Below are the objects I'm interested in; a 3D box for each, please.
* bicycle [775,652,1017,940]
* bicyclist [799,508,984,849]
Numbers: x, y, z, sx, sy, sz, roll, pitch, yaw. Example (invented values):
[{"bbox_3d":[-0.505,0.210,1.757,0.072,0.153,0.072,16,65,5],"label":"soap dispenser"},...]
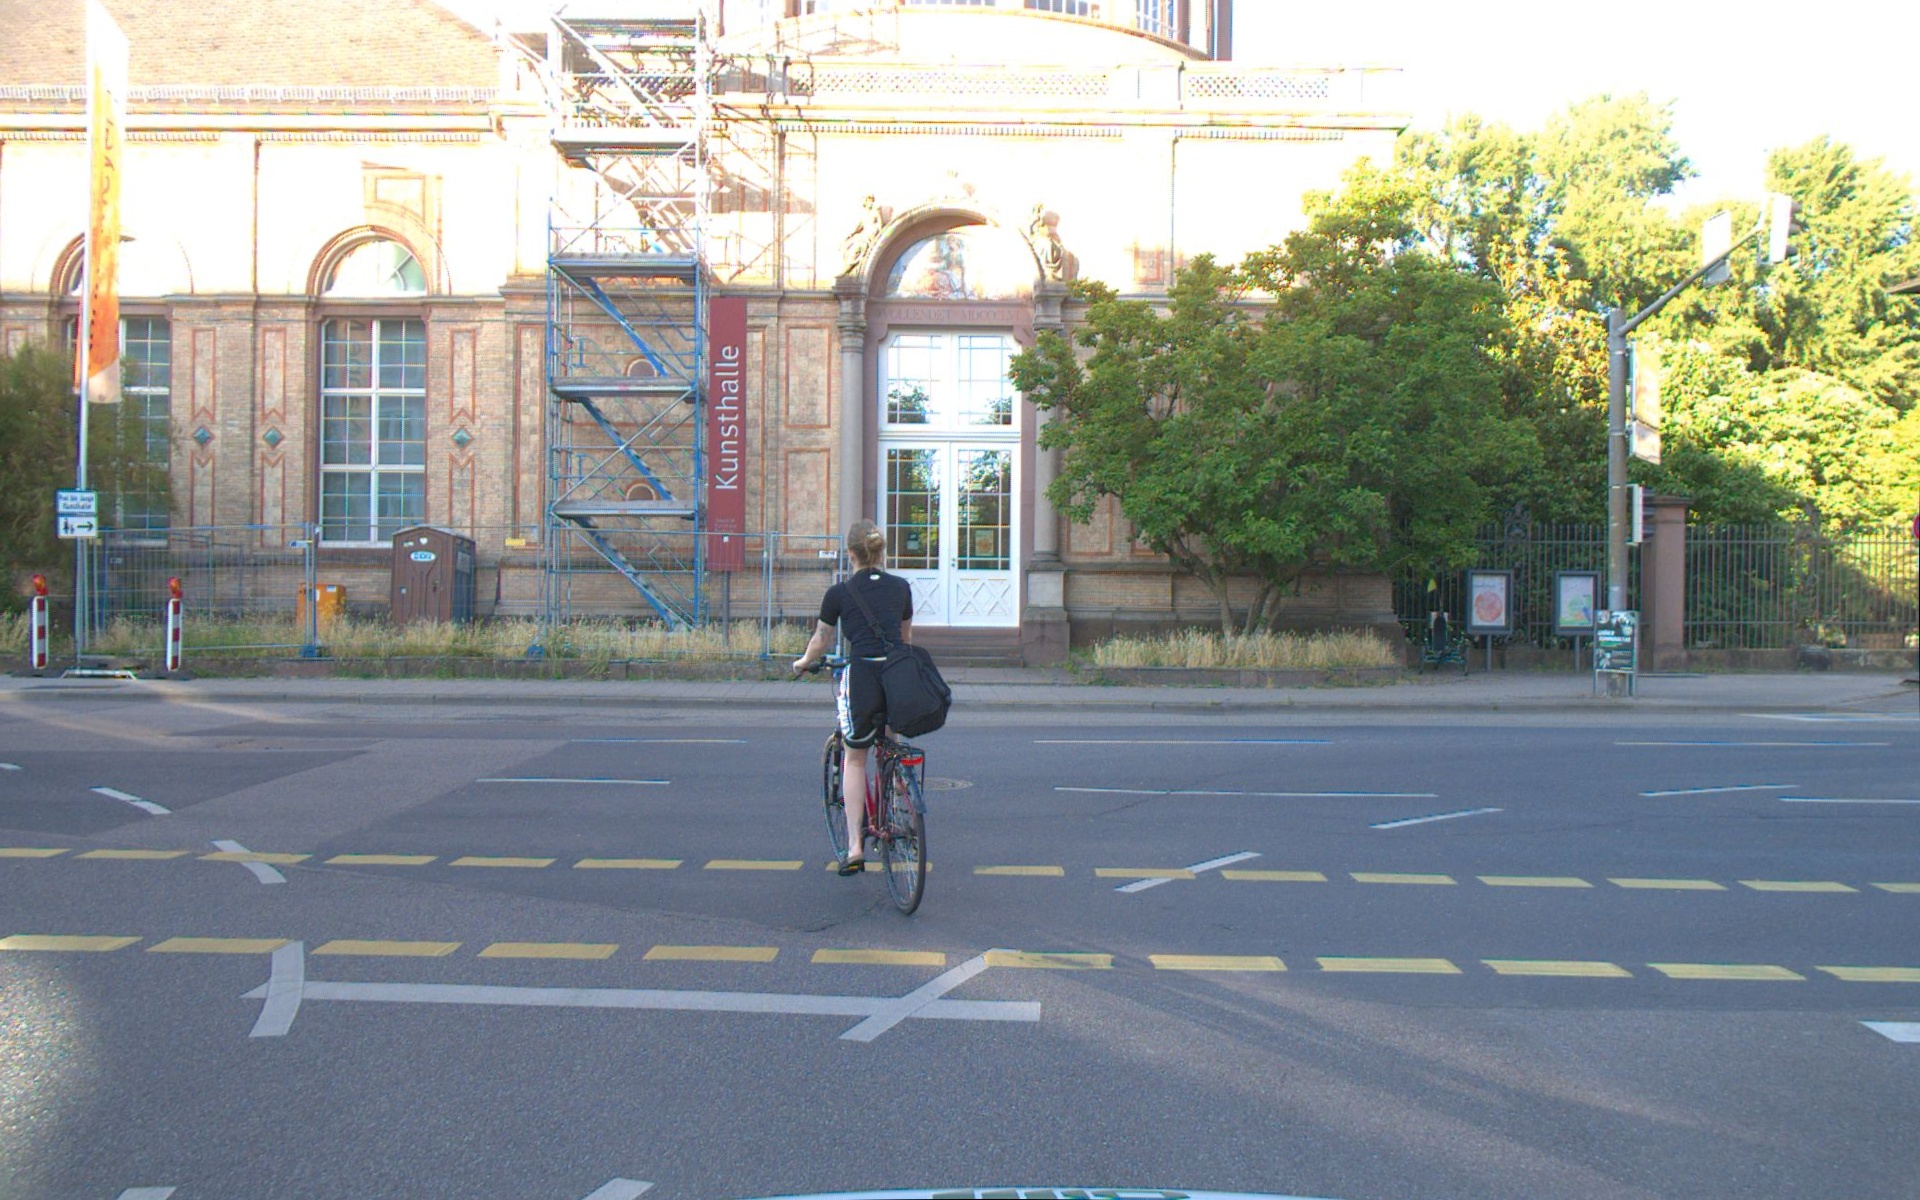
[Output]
[{"bbox_3d":[-0.373,0.852,7.999,0.700,1.176,2.059,1,-1,-16],"label":"bicycle"},{"bbox_3d":[-0.344,0.364,7.948,0.704,1.529,0.847,1,-2,-16],"label":"bicyclist"}]
